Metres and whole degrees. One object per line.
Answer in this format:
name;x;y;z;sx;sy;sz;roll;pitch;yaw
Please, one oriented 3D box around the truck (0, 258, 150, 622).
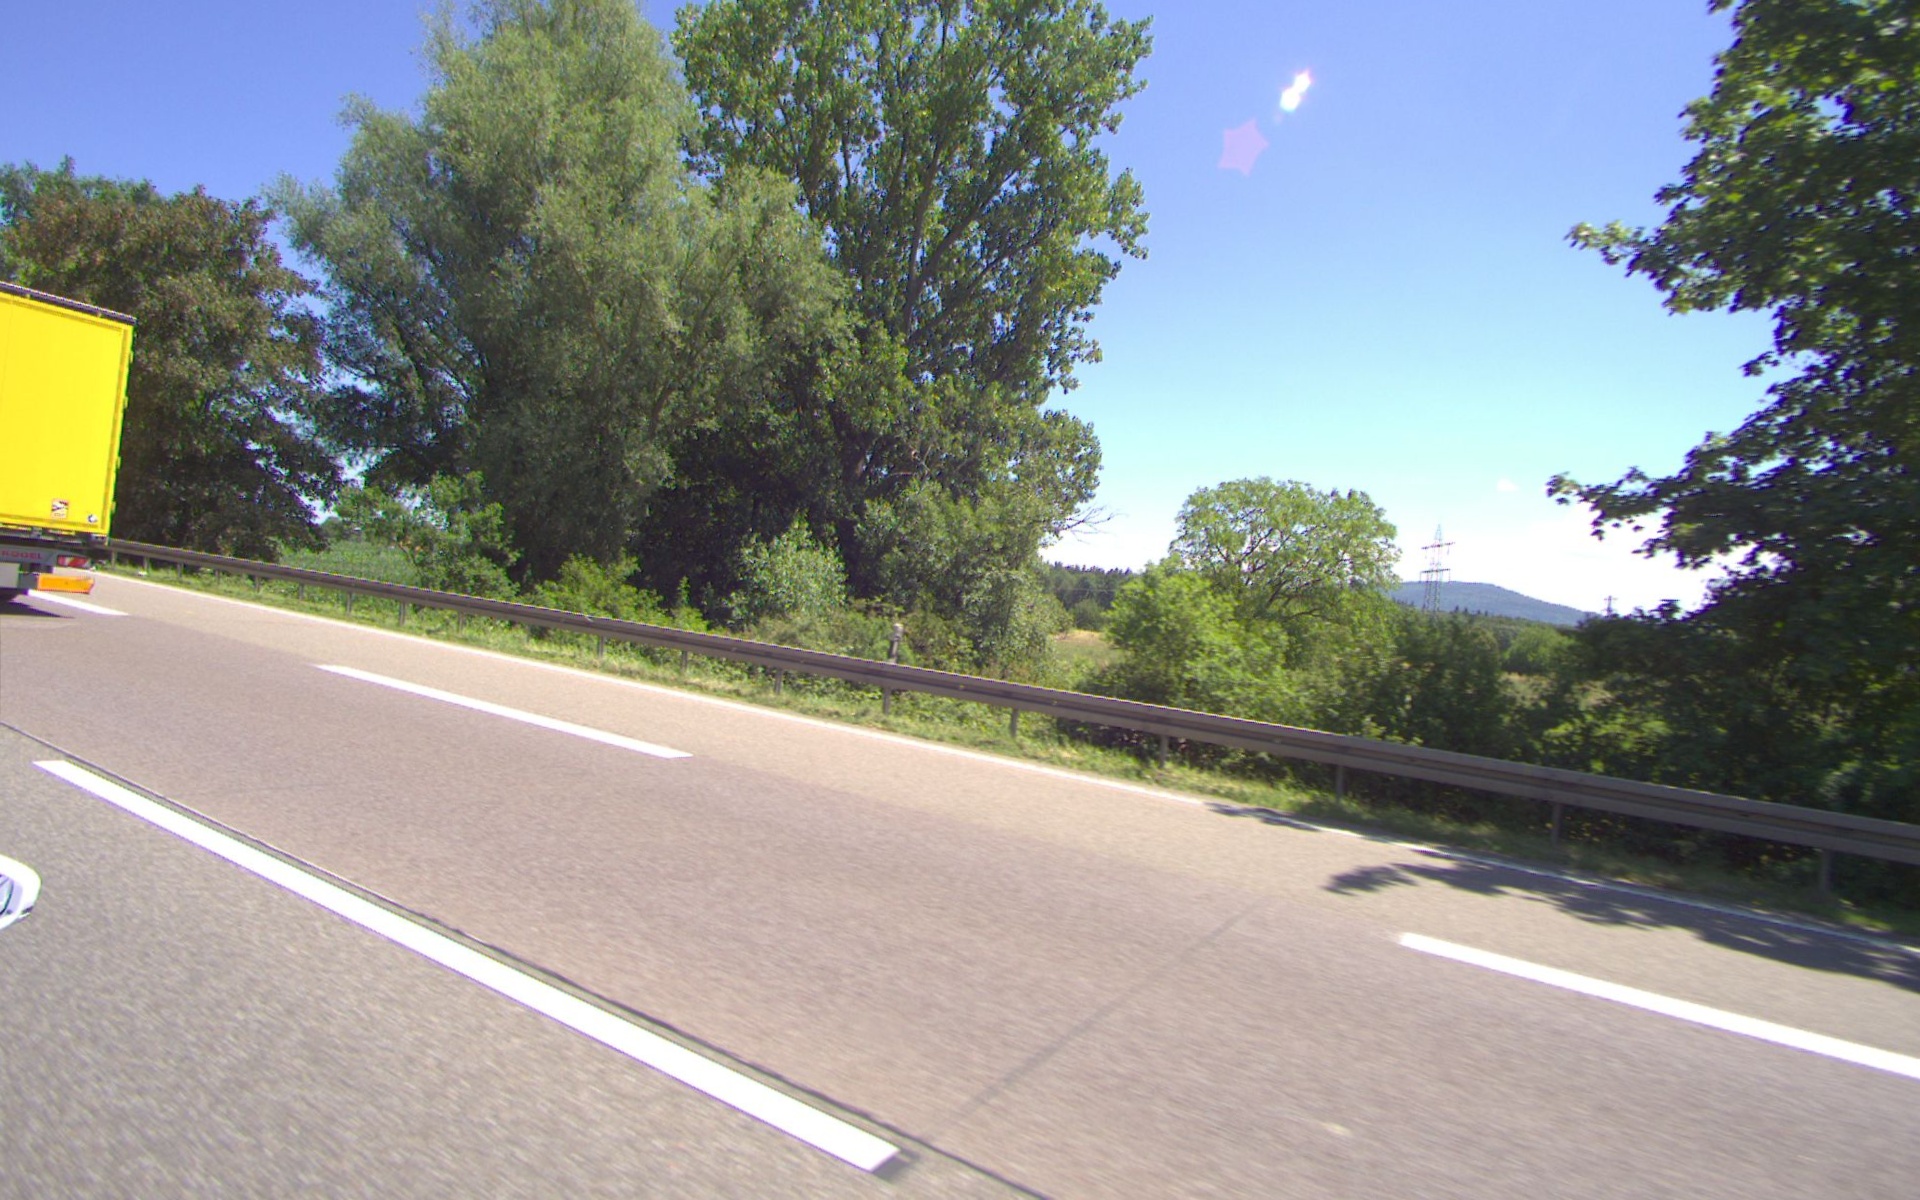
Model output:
truck;-18.651;-2.653;16.474;16.514;4.311;2.847;6;0;32
